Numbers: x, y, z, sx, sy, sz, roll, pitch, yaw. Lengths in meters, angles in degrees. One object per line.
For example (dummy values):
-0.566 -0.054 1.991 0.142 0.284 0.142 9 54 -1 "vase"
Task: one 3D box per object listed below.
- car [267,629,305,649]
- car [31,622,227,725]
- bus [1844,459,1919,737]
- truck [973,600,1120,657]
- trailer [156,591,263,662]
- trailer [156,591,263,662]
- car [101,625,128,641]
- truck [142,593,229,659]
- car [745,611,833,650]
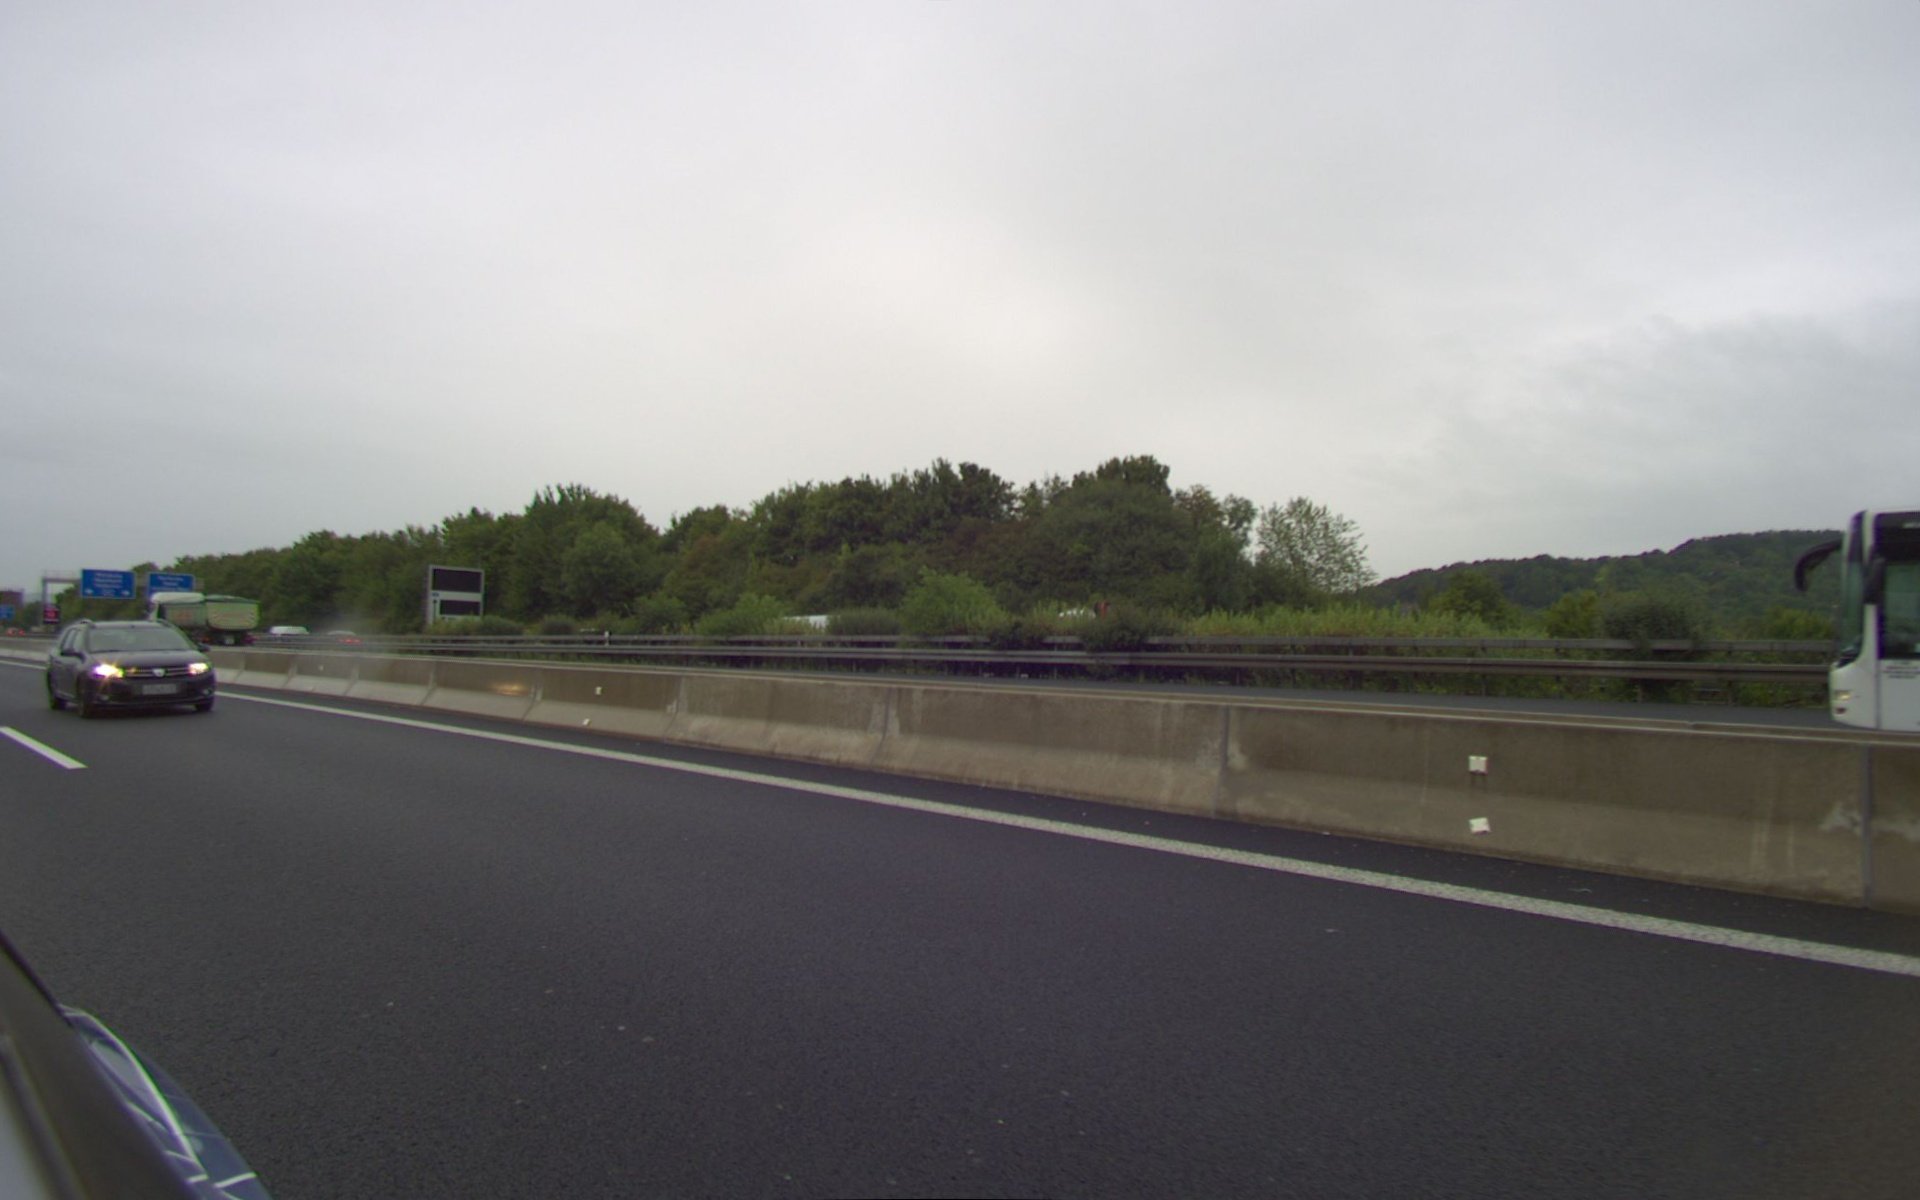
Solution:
-60.694 3.474 91.107 4.410 1.800 1.782 -2 -3 42 "car"
-14.006 1.130 16.962 4.563 1.501 1.704 -1 -2 40 "car"
15.197 -0.074 8.294 11.892 2.981 2.670 -1 -2 41 "bus"
3.575 1.218 42.851 6.152 2.259 2.005 -1 -2 38 "truck"
-43.252 1.509 58.225 8.919 3.777 2.874 -1 -2 40 "trailer"
-43.252 1.509 58.225 8.919 3.777 2.874 -1 -2 40 "trailer"
-111.317 4.318 133.204 5.294 2.029 1.855 -1 -2 40 "car"
-46.861 1.570 61.205 5.939 3.777 2.858 -1 -2 40 "truck"
-8.154 1.460 48.120 4.410 1.800 1.782 -2 -3 42 "car"
